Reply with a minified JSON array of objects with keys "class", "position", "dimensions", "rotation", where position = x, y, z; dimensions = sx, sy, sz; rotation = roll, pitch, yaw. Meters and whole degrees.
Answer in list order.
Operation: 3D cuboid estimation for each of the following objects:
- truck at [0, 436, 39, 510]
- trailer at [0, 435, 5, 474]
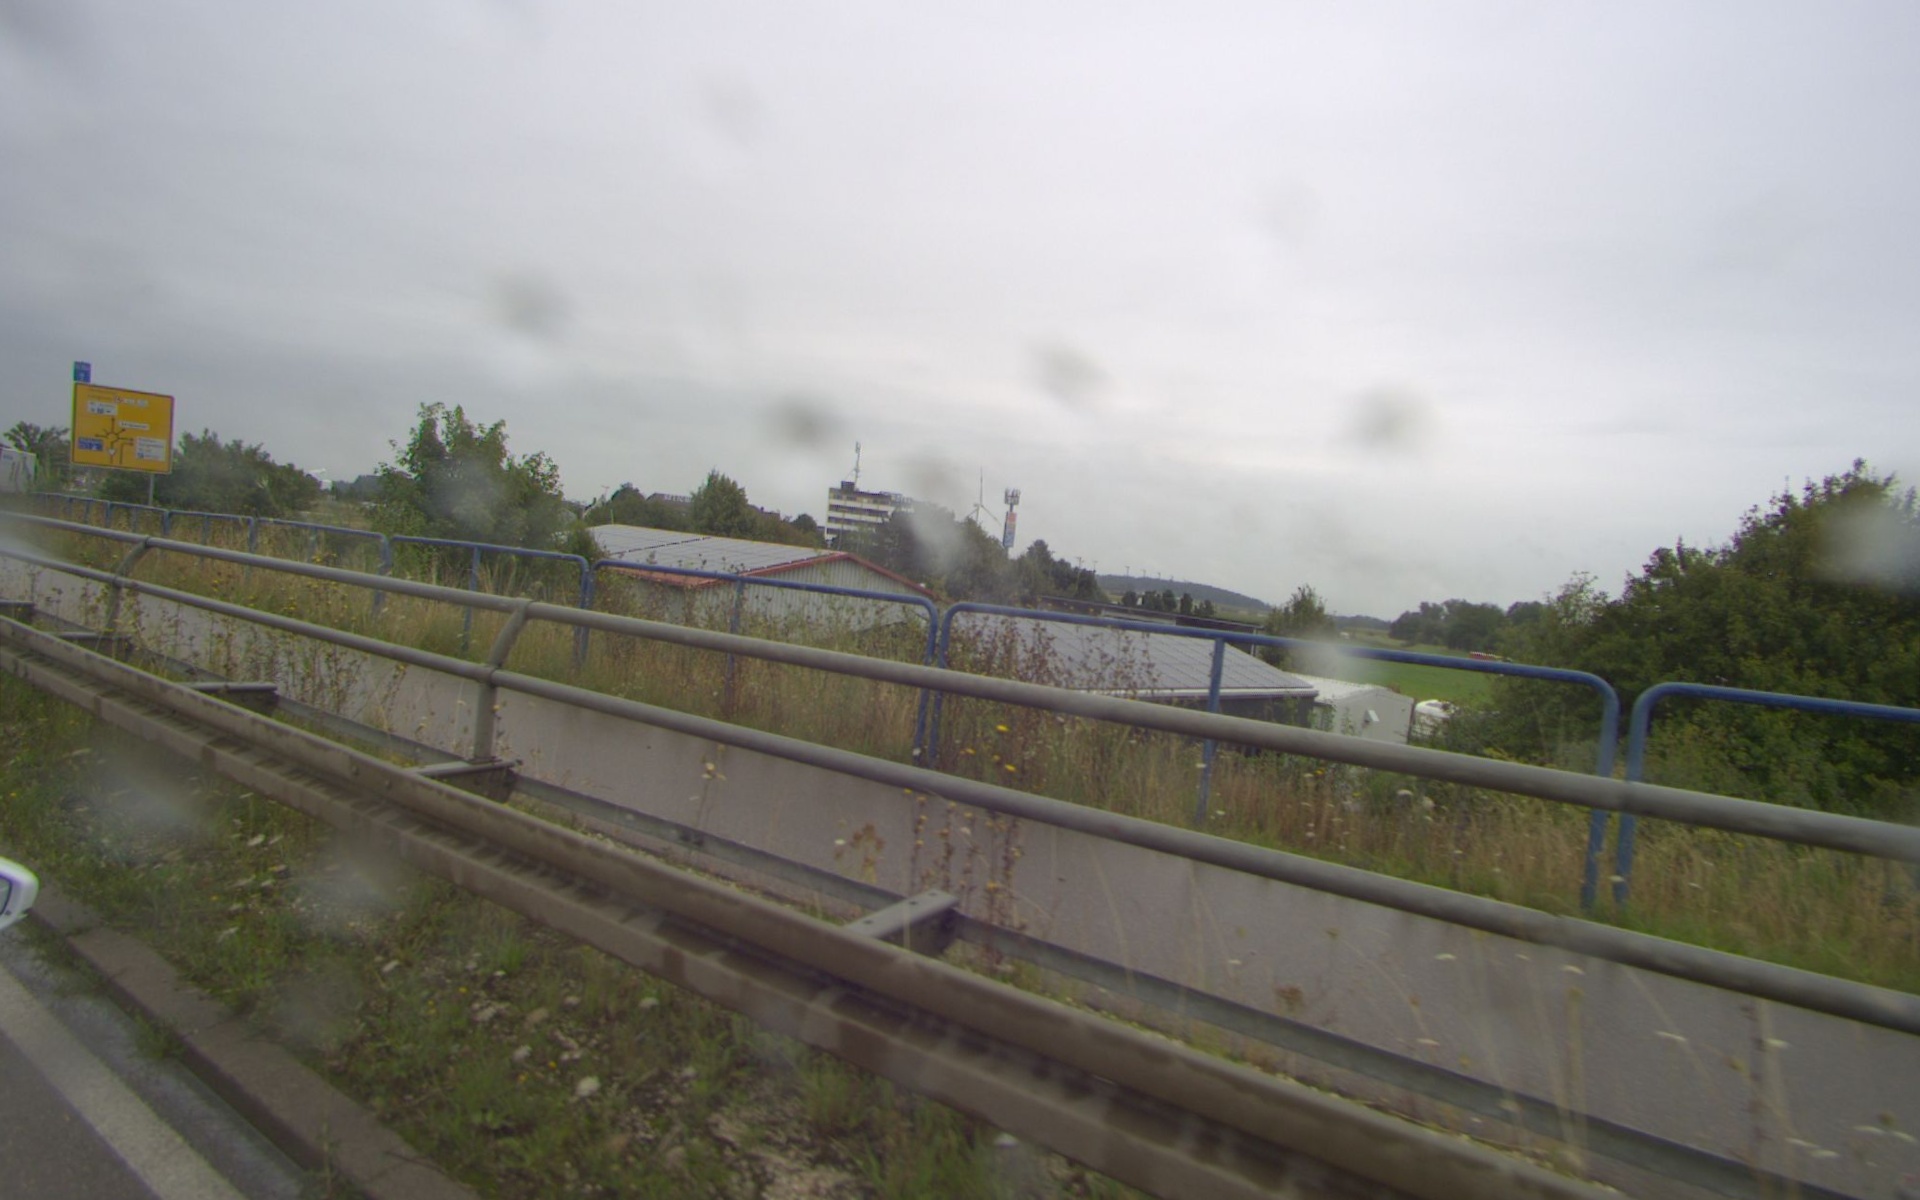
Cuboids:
[{"class":"truck","position":[-58.476,-7.764,60.228],"dimensions":[3.182,3.968,8.662],"rotation":[8,-1,-33]},{"class":"trailer","position":[-53.767,-7.319,52.949],"dimensions":[3.182,3.968,8.662],"rotation":[8,-1,-33]}]
